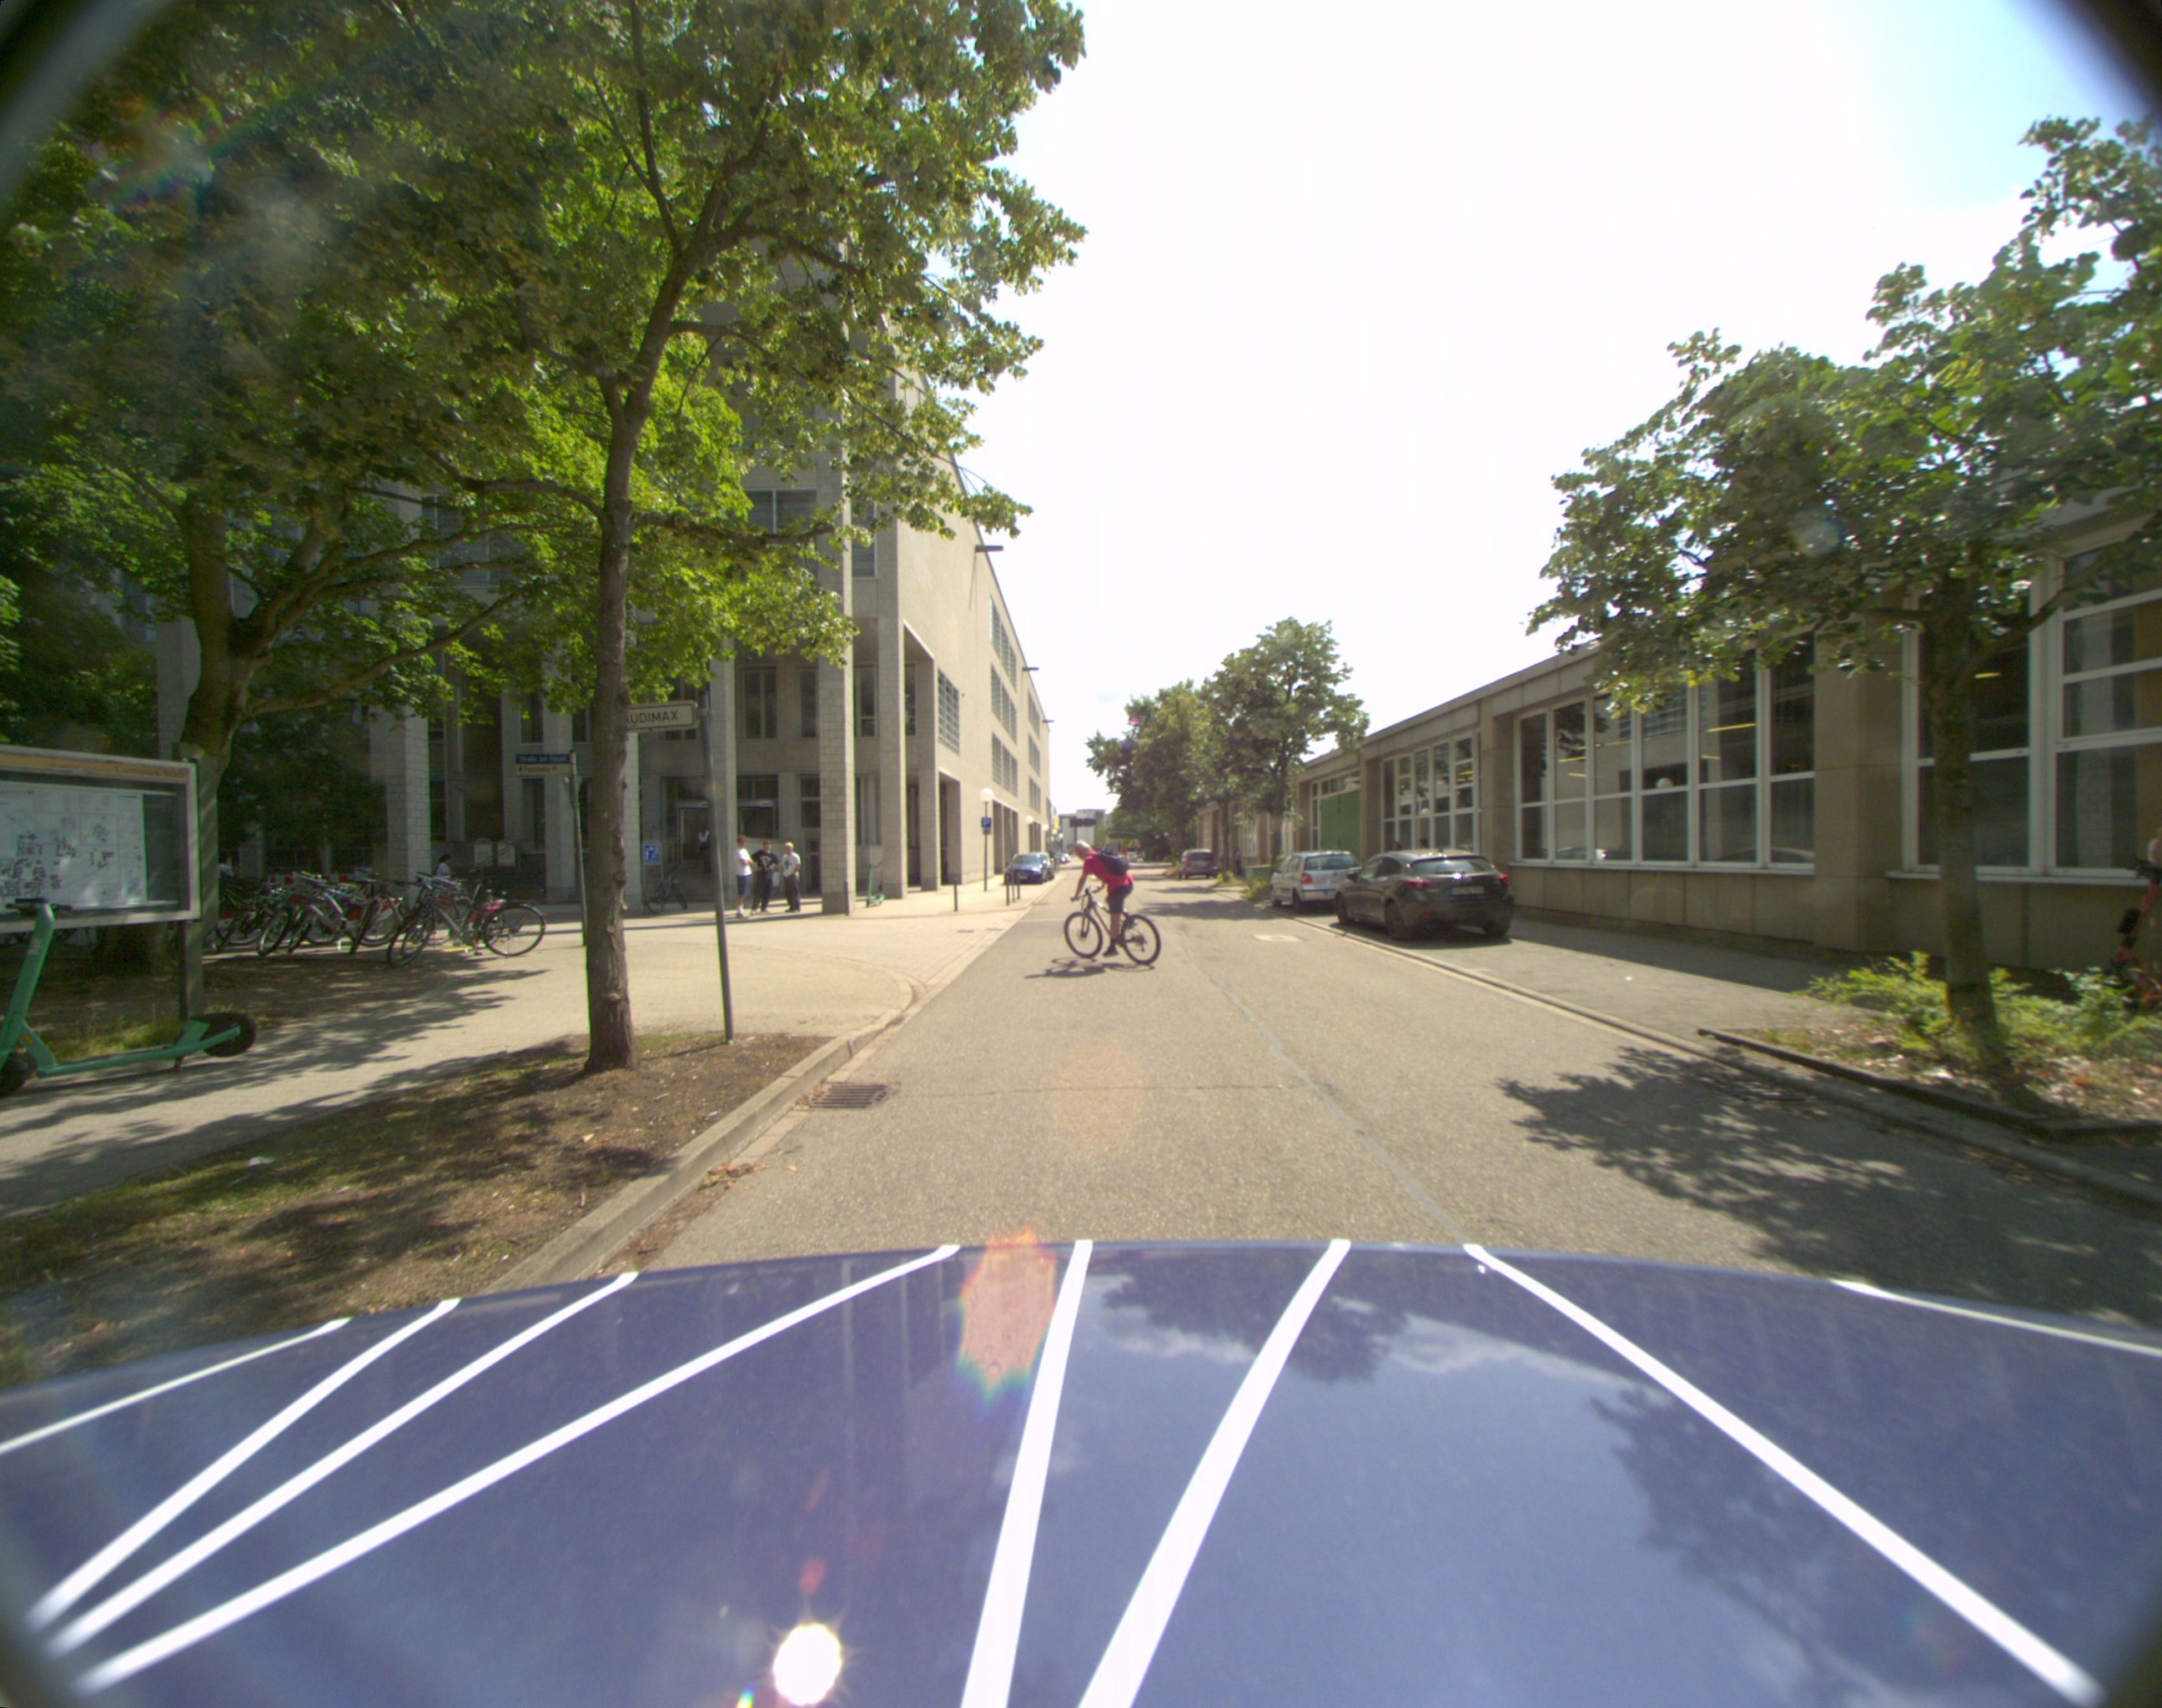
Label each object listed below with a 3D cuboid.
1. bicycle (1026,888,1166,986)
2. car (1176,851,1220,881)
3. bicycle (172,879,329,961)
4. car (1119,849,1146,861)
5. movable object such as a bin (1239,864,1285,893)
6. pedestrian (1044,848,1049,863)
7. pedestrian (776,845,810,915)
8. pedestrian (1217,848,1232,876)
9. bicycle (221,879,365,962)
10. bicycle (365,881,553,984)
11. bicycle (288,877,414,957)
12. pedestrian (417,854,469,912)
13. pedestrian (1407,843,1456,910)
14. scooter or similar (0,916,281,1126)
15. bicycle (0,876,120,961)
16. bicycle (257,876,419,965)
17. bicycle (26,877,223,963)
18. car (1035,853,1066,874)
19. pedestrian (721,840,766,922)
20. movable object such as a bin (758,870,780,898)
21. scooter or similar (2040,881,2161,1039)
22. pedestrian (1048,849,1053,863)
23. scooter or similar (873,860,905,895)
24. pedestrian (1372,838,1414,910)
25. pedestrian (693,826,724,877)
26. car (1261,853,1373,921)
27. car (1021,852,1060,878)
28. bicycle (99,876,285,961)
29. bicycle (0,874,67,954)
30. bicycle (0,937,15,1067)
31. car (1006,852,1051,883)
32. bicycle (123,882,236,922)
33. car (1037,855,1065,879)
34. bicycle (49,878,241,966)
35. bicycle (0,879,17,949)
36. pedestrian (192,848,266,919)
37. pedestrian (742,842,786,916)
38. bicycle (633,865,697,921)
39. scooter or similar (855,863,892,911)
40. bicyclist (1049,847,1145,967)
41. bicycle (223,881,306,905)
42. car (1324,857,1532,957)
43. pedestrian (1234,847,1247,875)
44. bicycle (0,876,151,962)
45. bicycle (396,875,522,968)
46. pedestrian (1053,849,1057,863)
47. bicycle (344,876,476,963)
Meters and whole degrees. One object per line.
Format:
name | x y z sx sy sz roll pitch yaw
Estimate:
bicycle | 0.175 1.088 10.532 0.820 1.036 1.925 -5 6 -43
car | 6.297 0.599 41.350 1.803 1.441 3.676 -3 0 0
bicycle | -11.959 0.917 11.006 0.481 1.079 1.516 1 -1 7
car | 7.547 0.119 111.234 3.674 1.441 1.804 -3 1 -1
movable object such as a bin | 6.603 0.881 27.832 1.295 0.979 1.696 -3 0 2
pedestrian | -3.990 0.158 87.177 0.441 1.620 0.570 2 0 2
pedestrian | -7.177 0.646 18.941 0.613 1.719 0.542 0 1 2
pedestrian | 8.138 0.451 43.098 0.604 1.571 0.552 2 0 32
bicycle | -11.201 0.907 10.869 0.460 1.079 1.474 1 -1 2
bicycle | -7.995 0.952 9.853 0.604 1.135 1.790 2 1 34
bicycle | -10.720 0.897 11.226 0.460 1.079 1.440 1 -1 -1
pedestrian | -19.610 0.891 23.378 0.936 1.730 0.749 -1 1 9
pedestrian | 8.252 0.503 17.911 0.665 1.533 0.796 -1 1 -25
scooter or similar | -6.133 0.993 4.815 0.496 1.107 1.365 0 -1 26
bicycle | -15.196 0.901 10.879 0.627 1.143 1.697 1 -1 3
bicycle | -10.292 0.879 10.595 0.491 1.134 1.529 1 -1 21
bicycle | -13.646 0.901 10.922 0.565 1.118 1.697 1 -1 6
car | -2.053 0.644 52.388 1.842 1.390 3.878 1 -1 1
pedestrian | -7.854 0.614 17.727 0.687 1.880 0.686 -1 2 -2
movable object such as a bin | -10.699 1.023 26.042 0.513 0.944 0.512 2 0 -1
scooter or similar | 8.623 0.842 6.037 0.383 1.200 1.246 -3 0 0
pedestrian | -3.512 0.207 87.126 0.383 1.620 0.519 2 0 2
scooter or similar | -7.209 0.866 28.563 0.566 1.205 1.506 -2 3 -39
pedestrian | 7.655 0.483 18.623 0.795 1.718 0.603 0 1 41
pedestrian | -12.693 -0.084 25.897 0.689 1.724 0.685 0 1 3
car | 5.812 0.743 19.174 1.634 1.441 3.752 -3 0 0
car | -2.236 0.613 42.727 1.842 1.390 3.878 1 -1 1
bicycle | -12.457 0.866 10.730 0.481 1.079 1.697 1 -1 7
bicycle | -15.877 0.875 10.838 0.628 1.143 1.695 -3 0 -7
bicycle | -7.320 0.946 4.288 0.629 1.078 1.684 -3 4 -22
car | -2.503 0.640 37.039 1.842 1.390 3.878 1 -1 1
bicycle | -22.717 1.198 19.188 0.447 0.894 1.779 -1 0 20
car | -2.251 0.949 57.386 1.798 1.691 4.001 2 0 1
bicycle | -13.145 0.909 10.752 0.481 1.118 1.697 1 -1 7
bicycle | -16.540 0.909 10.780 0.568 1.041 1.695 -3 0 -6
pedestrian | -21.404 0.714 19.103 0.938 1.730 0.748 -1 1 -18
pedestrian | -7.886 0.610 18.918 0.811 1.787 0.618 -1 2 -42
bicycle | -10.226 0.933 18.734 0.531 1.235 1.829 0 1 0
scooter or similar | -5.665 0.874 20.786 0.564 1.205 1.510 2 1 0
bicyclist | 0.222 0.696 10.522 0.840 1.534 0.956 1 1 -44
bicycle | -26.788 1.276 24.951 1.988 0.755 0.644 0 -1 -2
car | 5.877 0.809 13.513 1.729 1.427 4.290 -3 0 0
pedestrian | 9.023 0.407 43.013 0.605 1.571 0.551 1 0 -1
bicycle | -14.489 0.879 10.678 0.627 1.118 1.697 1 -1 6
bicycle | -8.626 0.904 10.614 0.561 1.135 1.489 1 1 -1
pedestrian | -2.964 0.216 87.113 0.383 1.620 0.519 2 0 2
bicycle | -9.548 0.895 10.883 0.561 1.134 1.490 1 -1 -1
